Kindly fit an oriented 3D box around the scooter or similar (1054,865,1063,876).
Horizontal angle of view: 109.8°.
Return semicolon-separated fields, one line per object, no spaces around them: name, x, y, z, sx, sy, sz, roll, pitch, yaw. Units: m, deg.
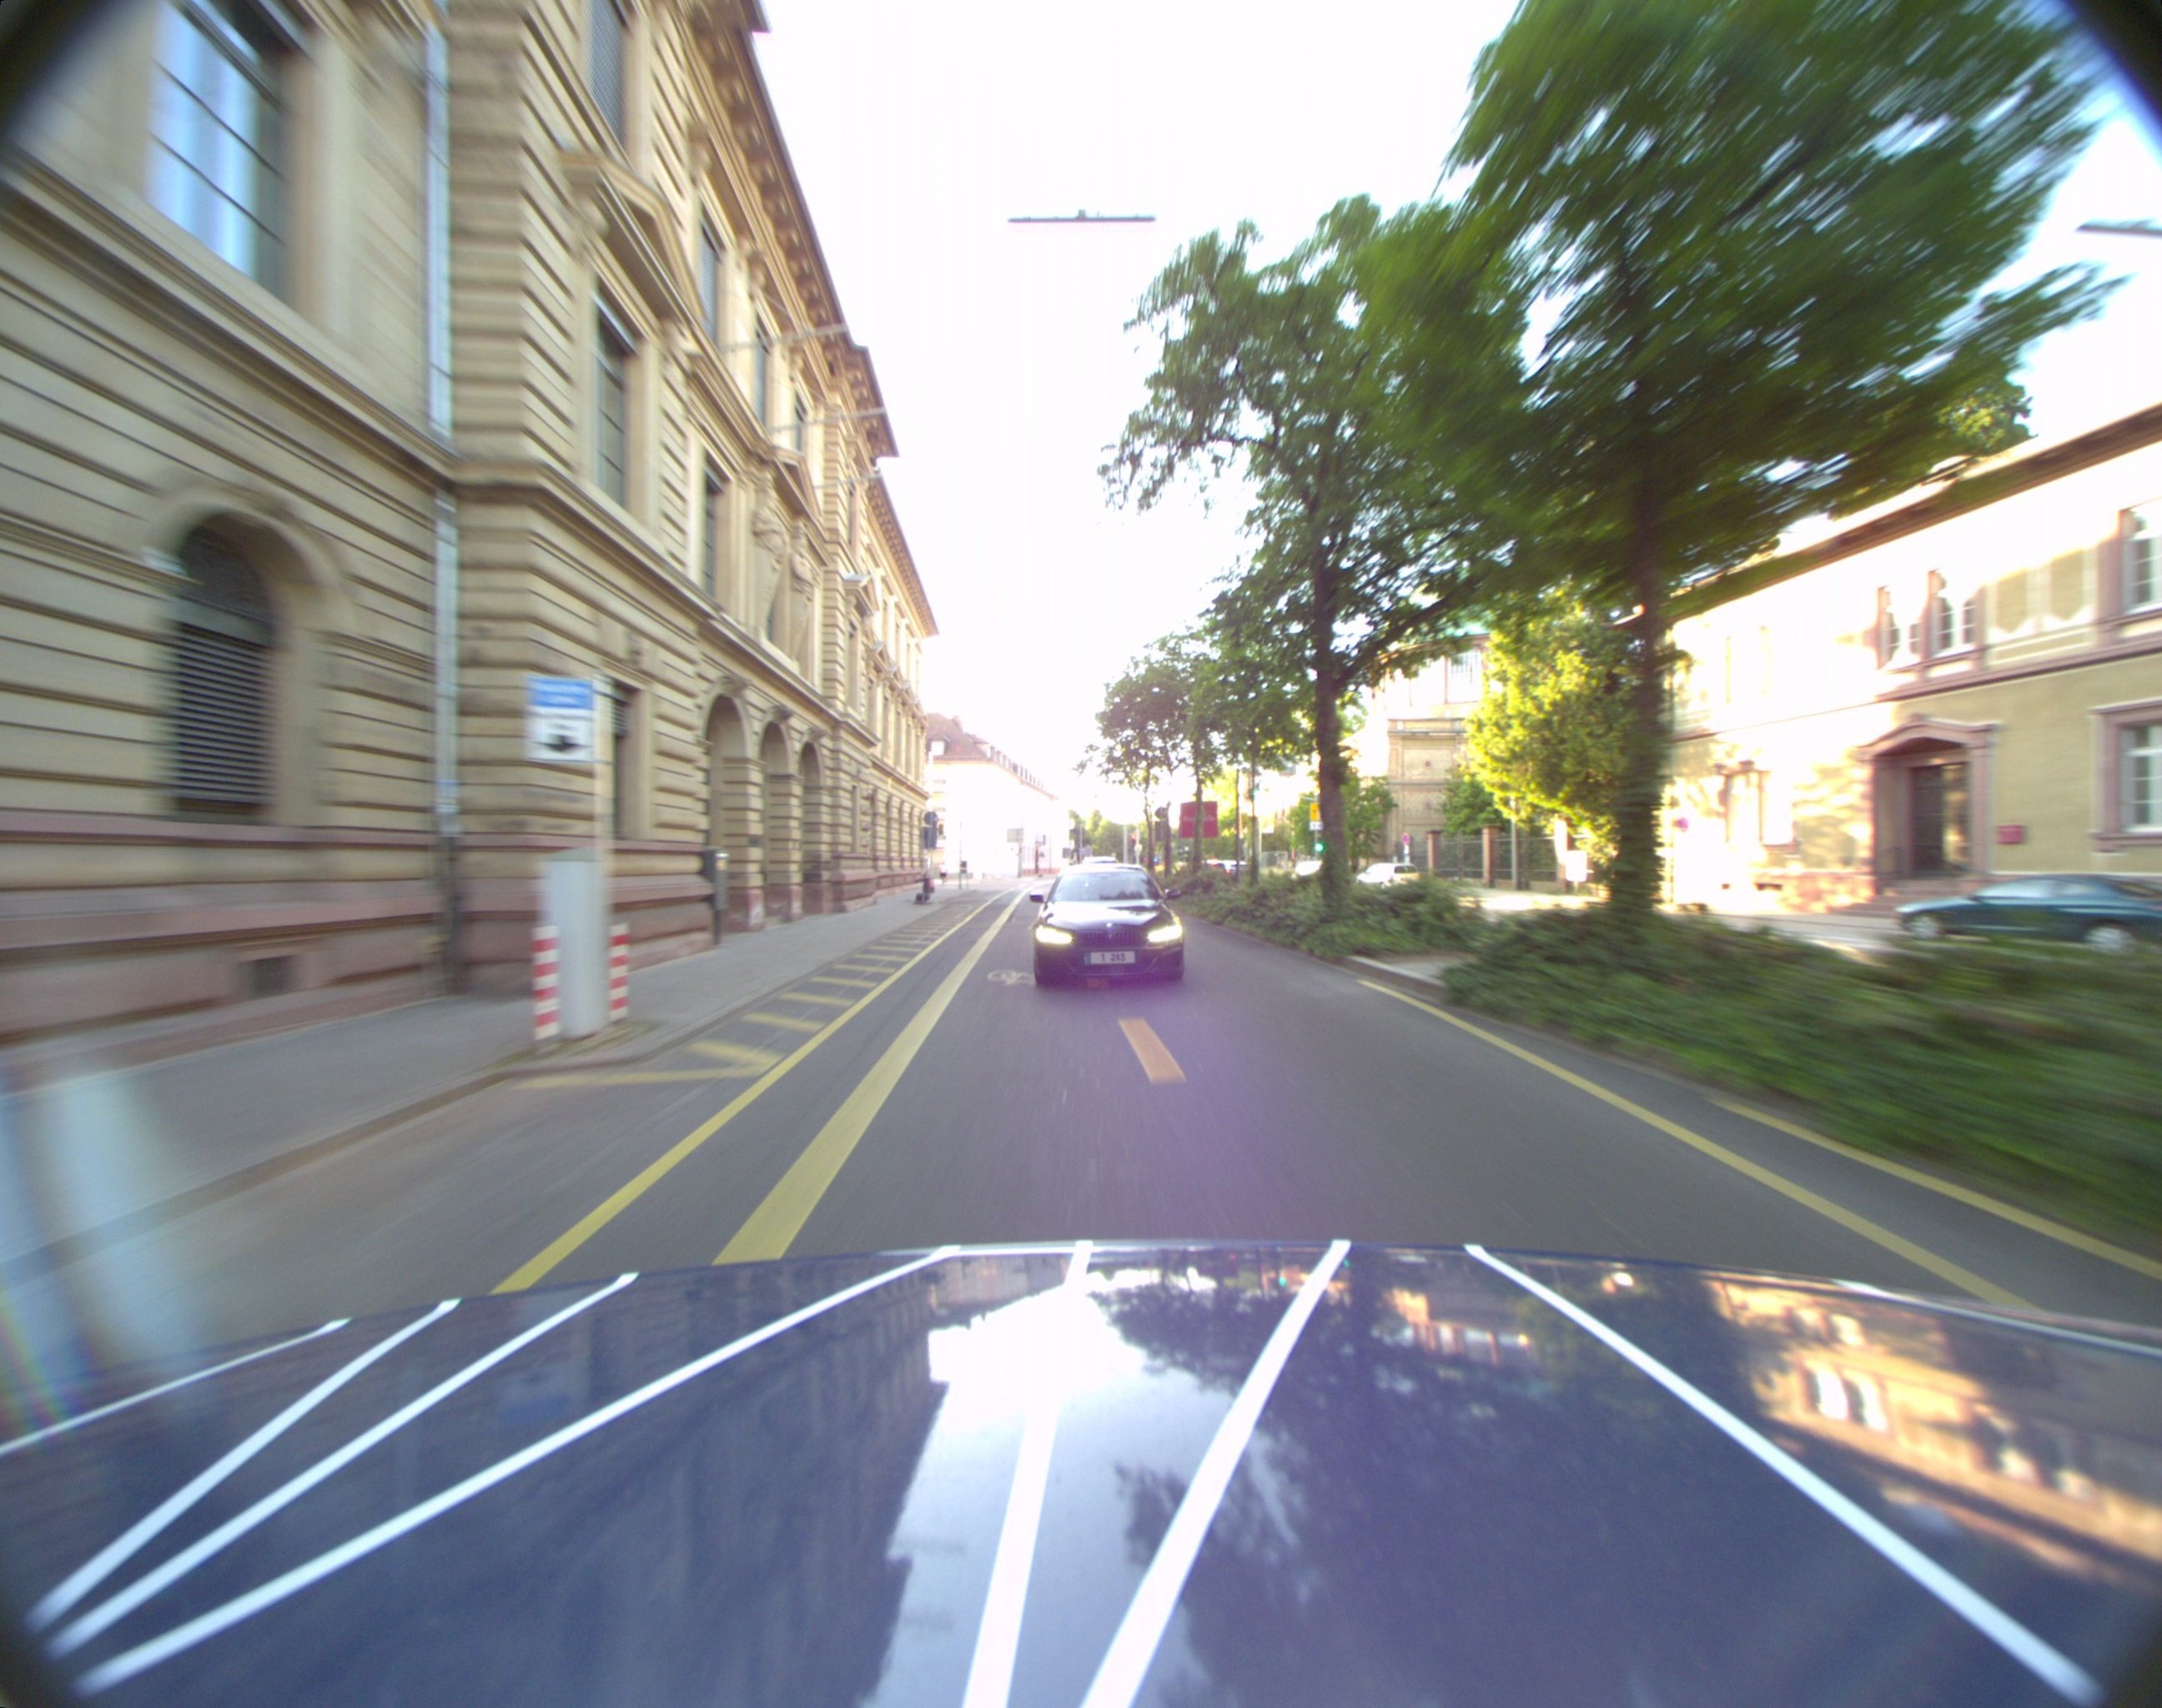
scooter or similar;-3.282;2.428;111.890;0.726;1.450;1.674;2;0;16

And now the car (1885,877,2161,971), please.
car;17.144;1.140;13.362;1.685;1.343;3.885;1;0;-6

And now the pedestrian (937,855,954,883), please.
pedestrian;-10.007;1.110;56.057;0.786;2.002;0.996;-1;0;21

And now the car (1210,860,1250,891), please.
car;7.612;1.072;39.108;1.848;1.538;4.122;0;-1;9

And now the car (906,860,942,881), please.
car;-13.232;1.375;64.335;1.998;1.739;4.476;0;0;2

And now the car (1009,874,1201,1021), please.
car;0.318;1.031;10.202;1.964;1.378;4.782;-1;0;2

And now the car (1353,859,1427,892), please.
car;15.591;1.075;38.574;1.749;1.538;4.369;-1;-1;-3

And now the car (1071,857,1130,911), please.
car;0.693;0.958;26.468;1.838;1.673;4.224;-2;0;2

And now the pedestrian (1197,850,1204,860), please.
pedestrian;19.949;0.190;126.645;0.806;1.728;0.851;-1;0;31

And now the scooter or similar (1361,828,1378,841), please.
scooter or similar;18.279;-1.234;48.145;0.679;0.773;1.028;0;0;-1

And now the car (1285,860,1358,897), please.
car;10.958;1.074;34.902;1.847;1.542;4.174;1;0;-2

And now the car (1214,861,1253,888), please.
car;10.227;1.352;51.405;1.847;1.664;4.557;1;0;2

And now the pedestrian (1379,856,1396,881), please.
pedestrian;19.501;0.942;48.309;0.737;1.569;0.762;0;0;0
